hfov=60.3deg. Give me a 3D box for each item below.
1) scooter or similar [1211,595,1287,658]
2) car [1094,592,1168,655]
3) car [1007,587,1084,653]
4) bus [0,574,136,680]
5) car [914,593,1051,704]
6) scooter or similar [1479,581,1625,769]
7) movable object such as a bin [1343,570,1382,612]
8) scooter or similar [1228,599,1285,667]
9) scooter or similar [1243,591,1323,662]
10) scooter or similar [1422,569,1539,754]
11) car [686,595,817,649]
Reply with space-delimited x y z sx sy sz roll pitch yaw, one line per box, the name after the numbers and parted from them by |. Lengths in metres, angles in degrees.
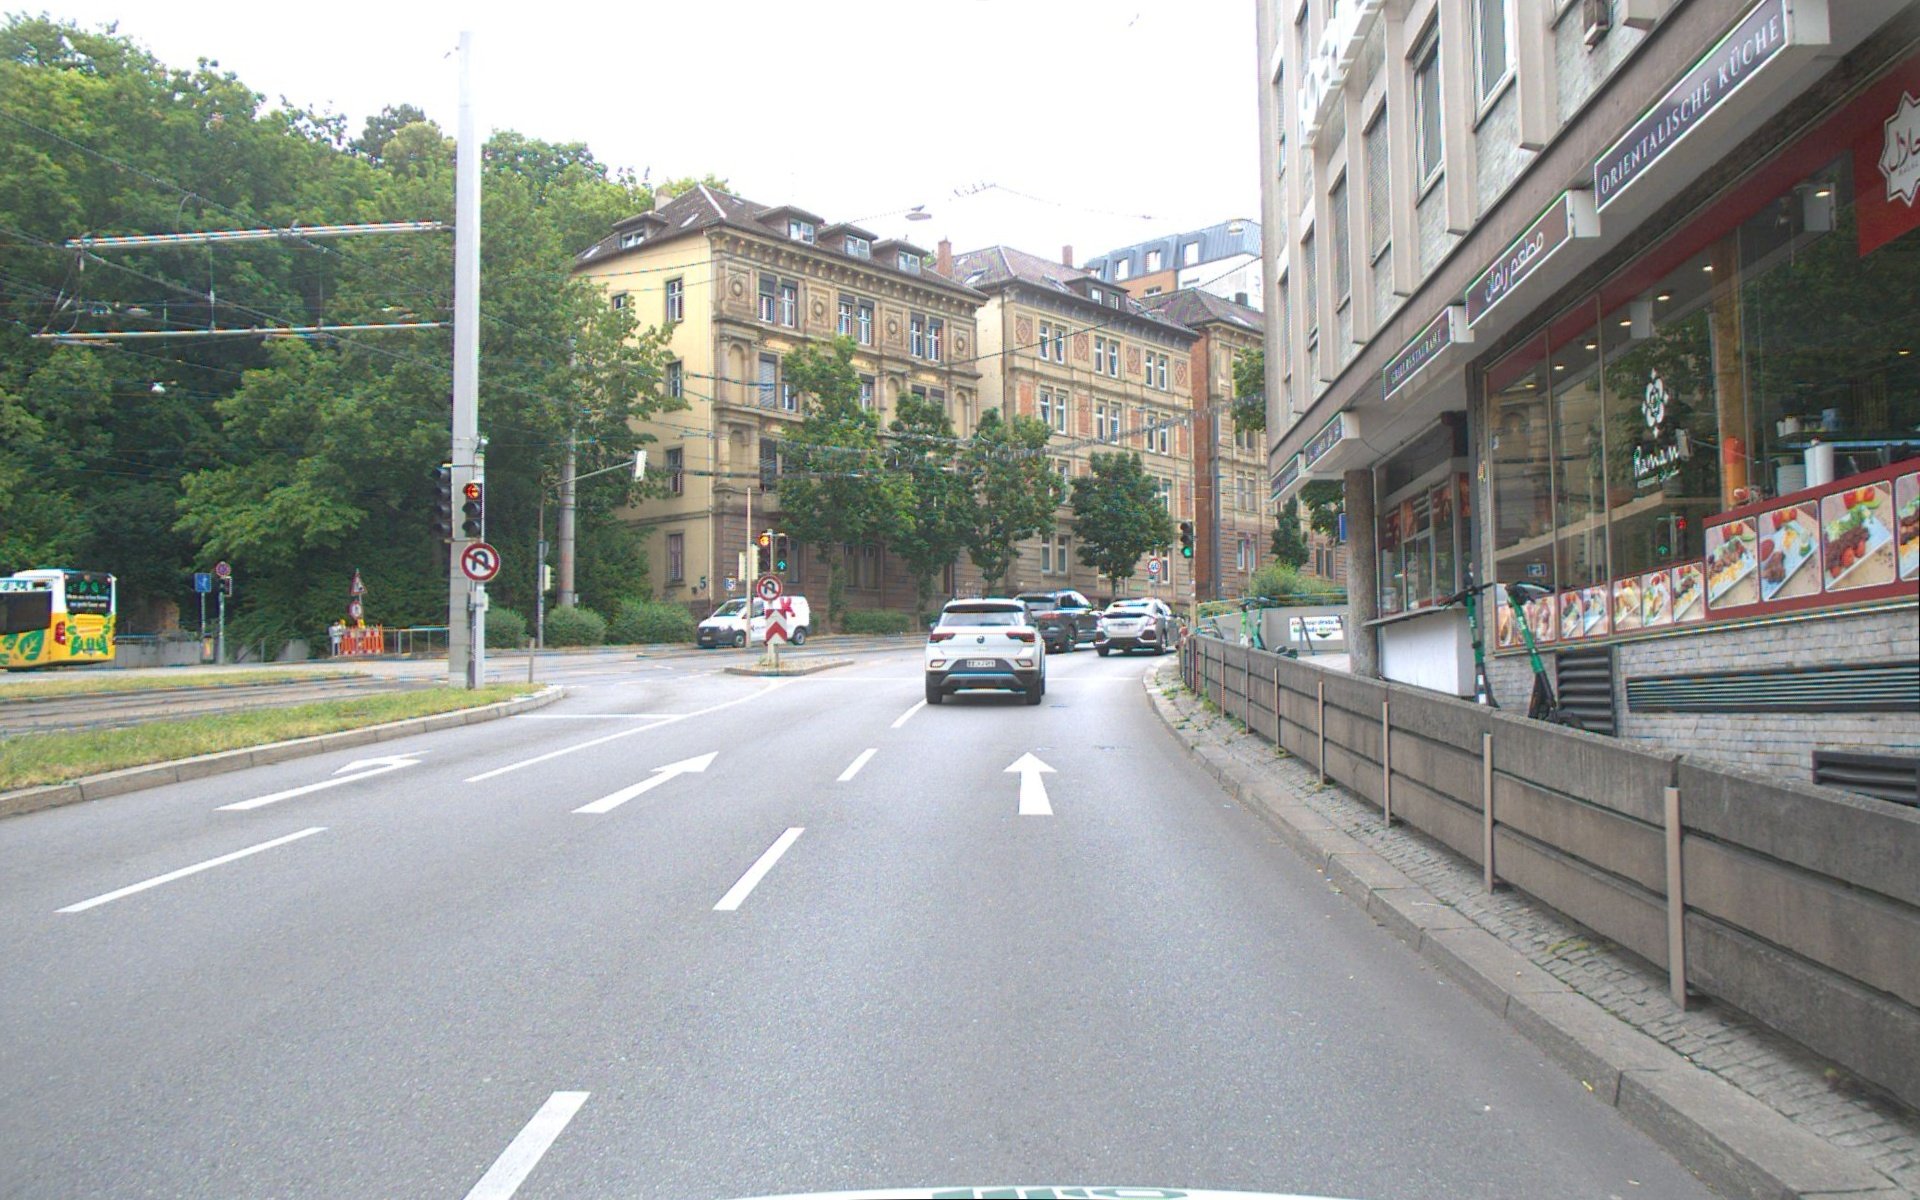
5.752 0.519 32.866 1.424 1.203 0.577 -1 -1 -28 | scooter or similar
4.527 0.629 44.140 1.862 1.601 3.836 1 -1 5 | car
2.460 0.539 46.812 1.800 1.770 4.003 -1 0 8 | car
-31.663 0.901 50.765 11.267 3.082 3.392 -1 0 5 | bus
0.434 0.733 26.090 1.897 1.594 4.048 -1 -1 4 | car
4.243 0.513 11.943 0.617 1.271 1.333 -1 0 3 | scooter or similar
28.160 -0.627 115.744 1.959 2.888 2.023 -3 -2 34 | movable object such as a bin
5.354 0.589 29.866 0.996 1.203 0.373 -1 -1 -28 | scooter or similar
6.120 0.495 31.308 1.425 1.276 0.552 -2 0 -28 | scooter or similar
4.426 0.507 14.140 0.654 1.501 1.179 -1 -1 3 | scooter or similar
-7.950 0.853 63.408 1.962 1.882 4.969 -5 -3 39 | car
